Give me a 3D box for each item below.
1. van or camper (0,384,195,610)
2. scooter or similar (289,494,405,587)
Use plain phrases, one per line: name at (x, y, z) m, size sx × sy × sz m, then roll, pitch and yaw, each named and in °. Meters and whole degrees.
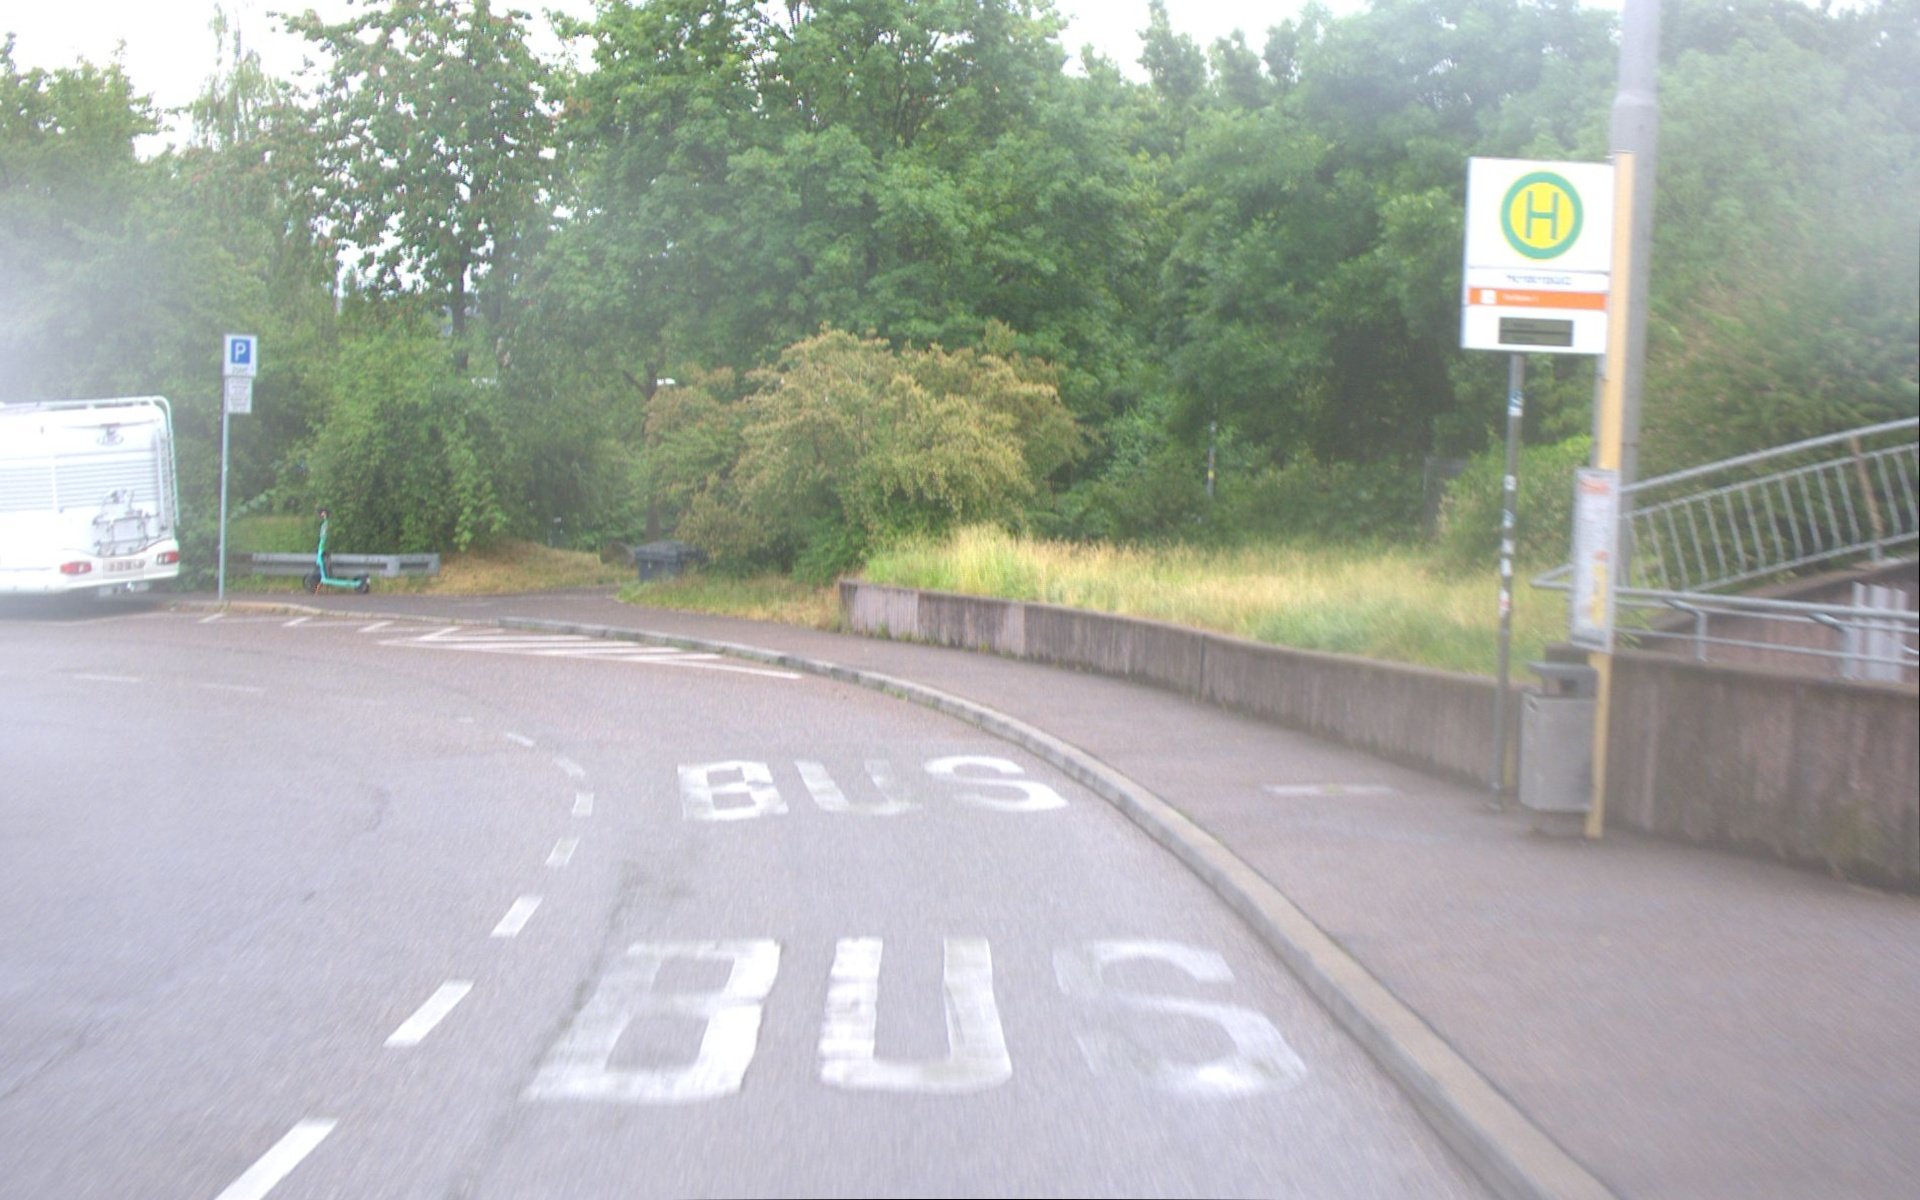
van or camper at (-14.132, -1.511, 48.902) m, size 6.271 × 2.933 × 2.394 m, roll 1°, pitch 6°, yaw 31°
scooter or similar at (-8.665, -0.838, 48.560) m, size 1.707 × 1.278 × 0.451 m, roll 0°, pitch 3°, yaw 32°
